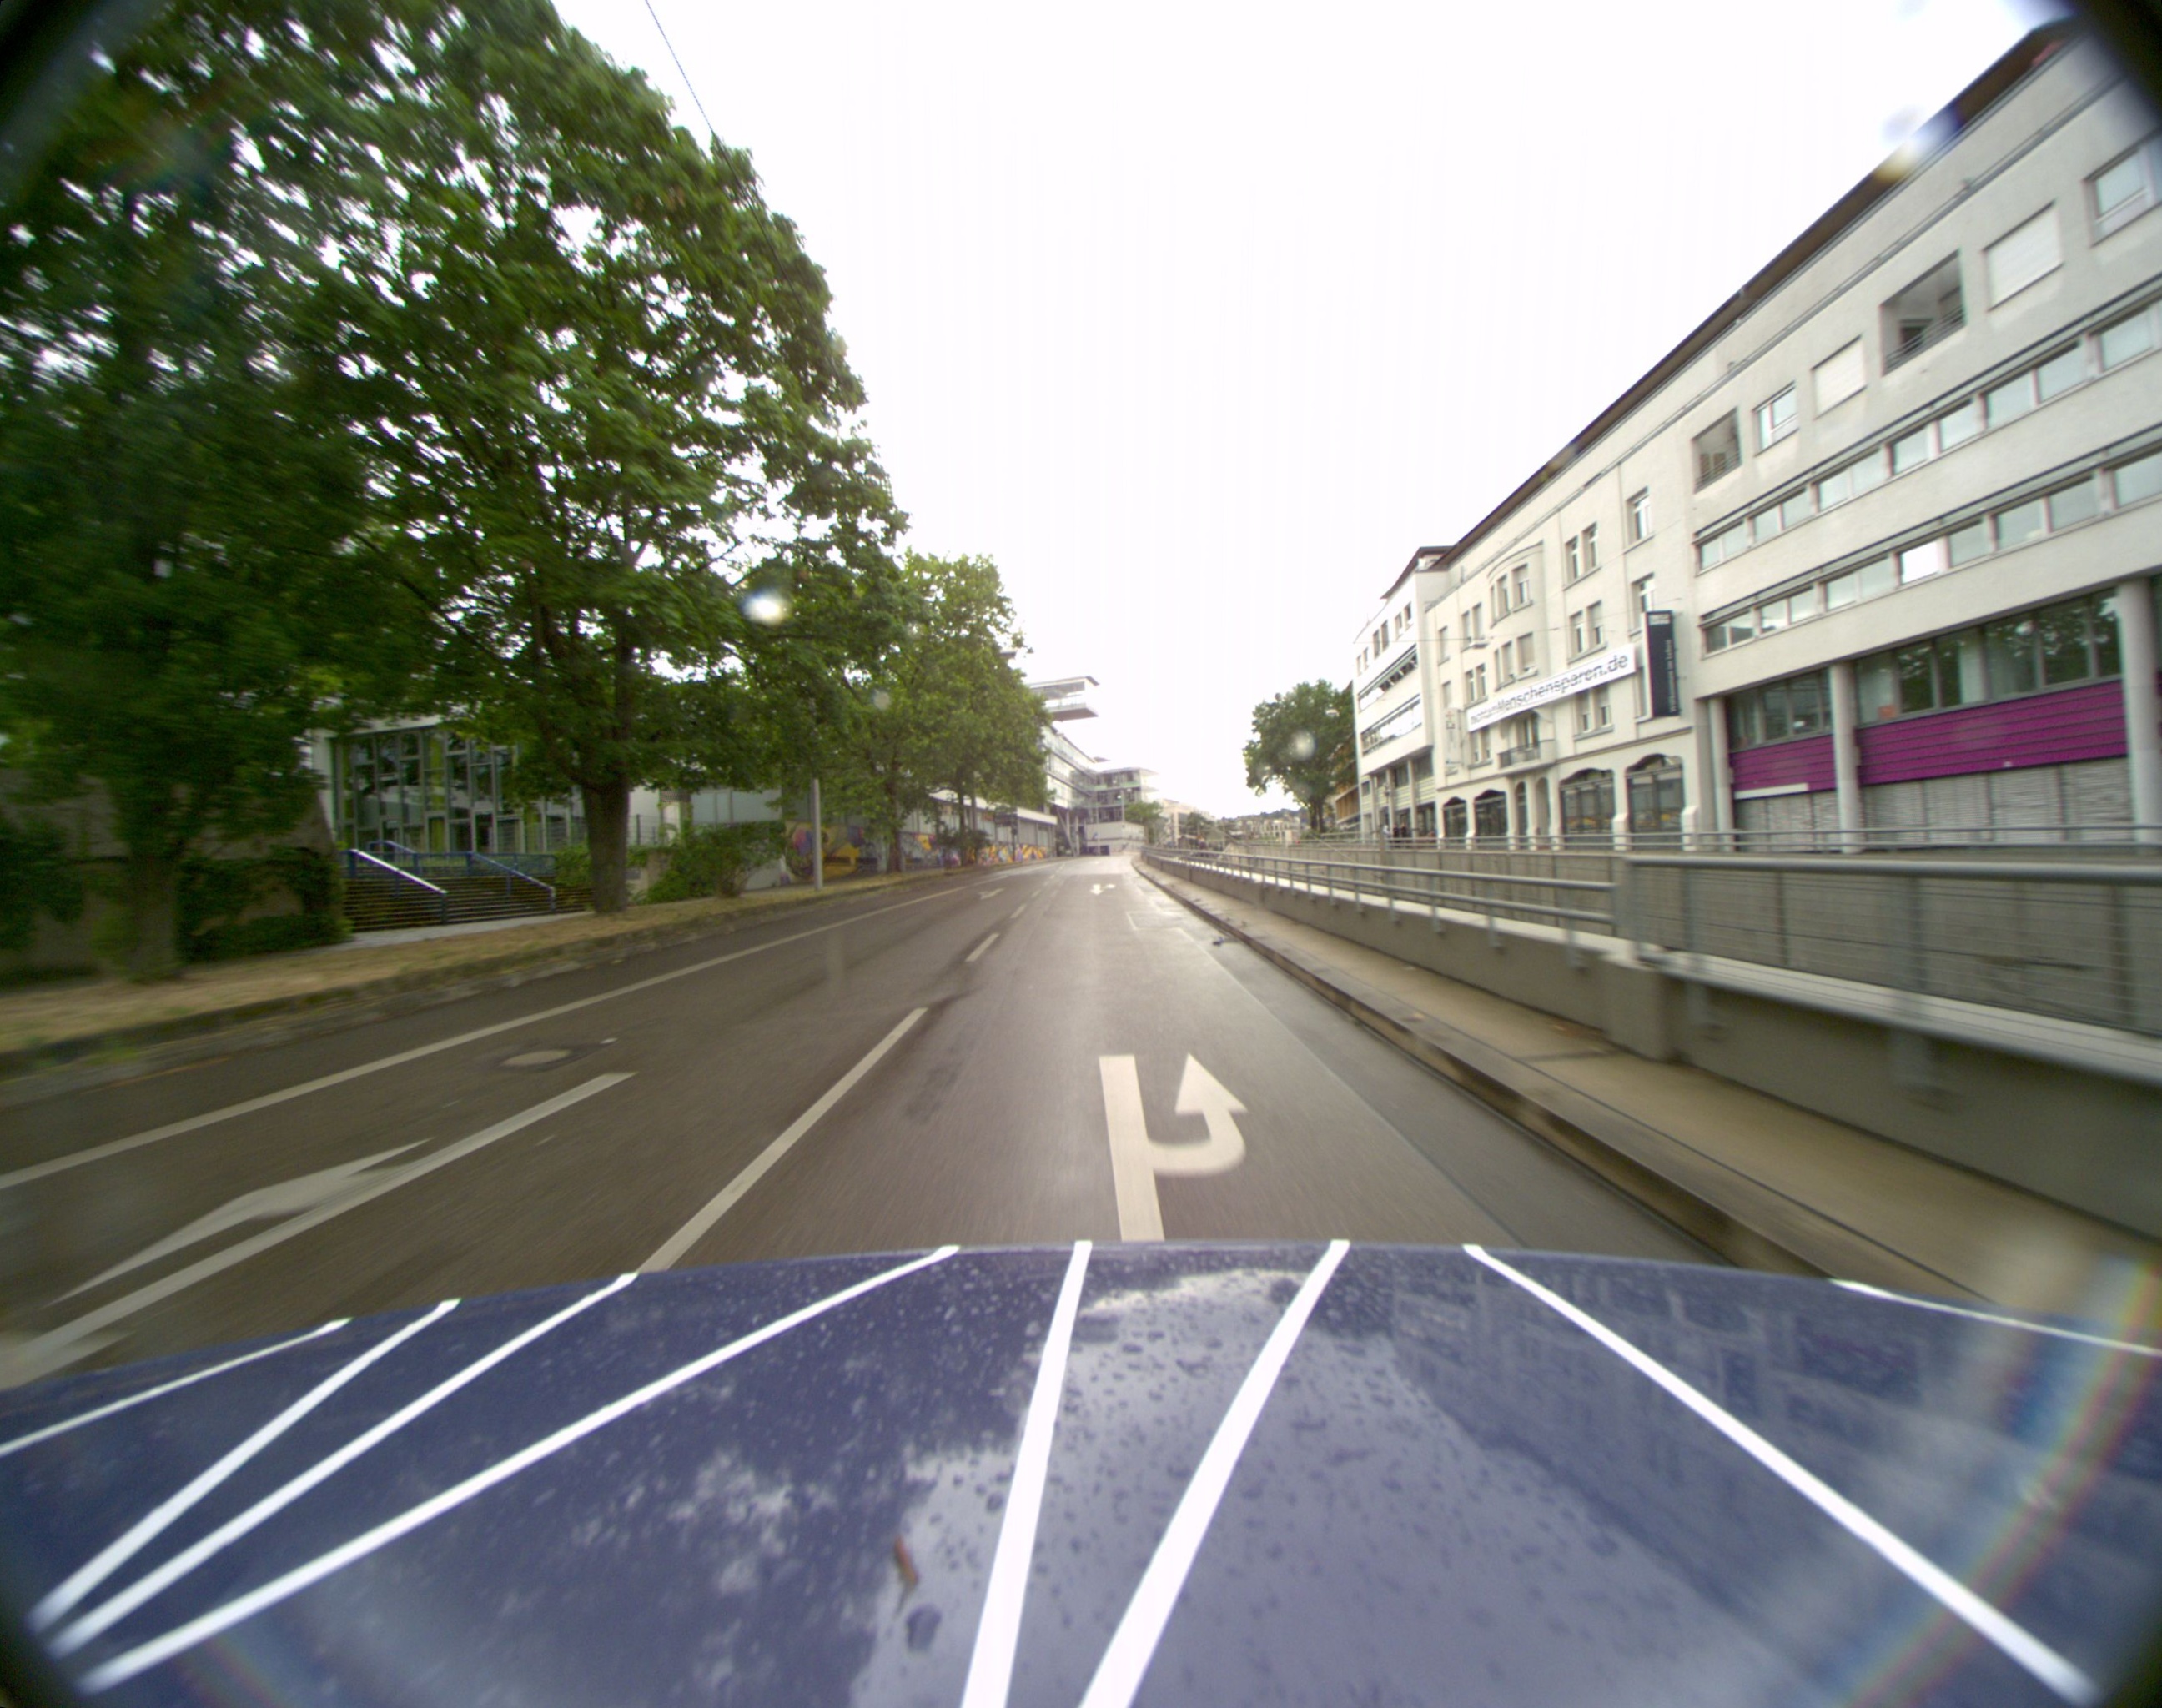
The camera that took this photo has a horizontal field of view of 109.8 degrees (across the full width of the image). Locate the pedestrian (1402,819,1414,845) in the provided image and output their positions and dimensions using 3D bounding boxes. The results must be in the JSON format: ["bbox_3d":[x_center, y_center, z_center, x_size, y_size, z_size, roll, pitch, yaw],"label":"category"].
[{"bbox_3d":[22.620,-1.528,52.540,0.470,1.792,0.547,-4,1,3],"label":"pedestrian"}]

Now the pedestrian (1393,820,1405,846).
[{"bbox_3d":[22.530,-1.467,53.803,0.547,1.792,0.470,-4,1,-7],"label":"pedestrian"}]

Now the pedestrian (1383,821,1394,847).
[{"bbox_3d":[21.725,-1.438,53.702,0.469,1.792,0.547,-4,1,8],"label":"pedestrian"}]
